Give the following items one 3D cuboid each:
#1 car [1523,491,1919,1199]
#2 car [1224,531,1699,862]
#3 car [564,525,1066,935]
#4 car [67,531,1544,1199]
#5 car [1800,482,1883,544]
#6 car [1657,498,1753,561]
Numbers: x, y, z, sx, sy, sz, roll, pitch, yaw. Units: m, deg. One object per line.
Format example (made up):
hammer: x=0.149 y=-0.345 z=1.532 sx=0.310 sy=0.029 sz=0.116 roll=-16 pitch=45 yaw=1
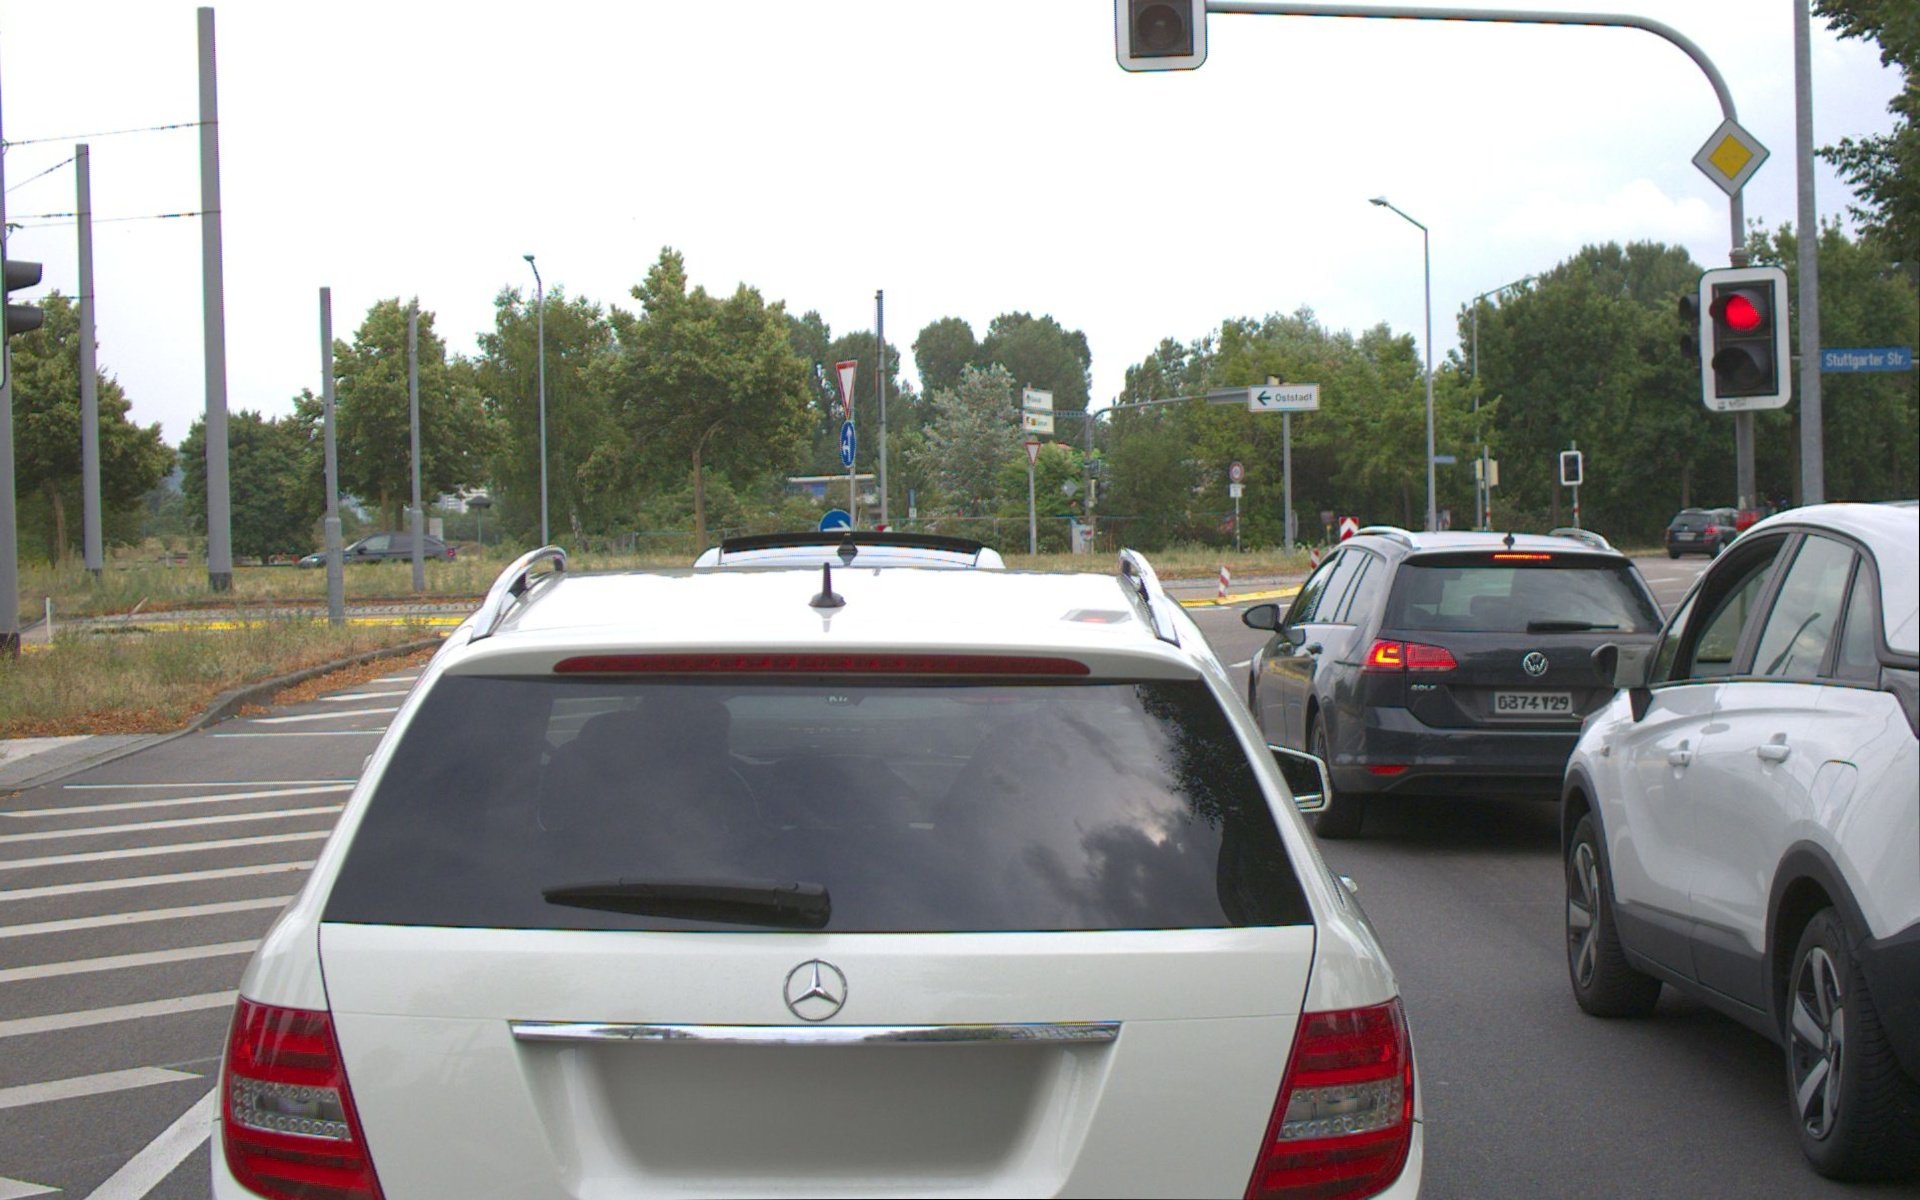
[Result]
car: x=2.737 y=0.523 z=9.136 sx=1.787 sy=1.619 sz=3.911 roll=-1 pitch=1 yaw=0
car: x=2.372 y=0.391 z=17.170 sx=1.624 sy=1.443 sz=3.911 roll=0 pitch=1 yaw=-2
car: x=-0.600 y=0.422 z=14.177 sx=1.773 sy=1.443 sz=3.911 roll=0 pitch=1 yaw=-2
car: x=-0.268 y=0.611 z=6.105 sx=1.773 sy=1.443 sz=3.911 roll=0 pitch=1 yaw=-2
car: x=24.159 y=-2.382 z=94.303 sx=1.784 sy=1.630 sz=4.400 roll=-1 pitch=1 yaw=9
car: x=22.293 y=-2.091 z=102.809 sx=1.996 sy=1.784 sz=3.995 roll=2 pitch=1 yaw=24
